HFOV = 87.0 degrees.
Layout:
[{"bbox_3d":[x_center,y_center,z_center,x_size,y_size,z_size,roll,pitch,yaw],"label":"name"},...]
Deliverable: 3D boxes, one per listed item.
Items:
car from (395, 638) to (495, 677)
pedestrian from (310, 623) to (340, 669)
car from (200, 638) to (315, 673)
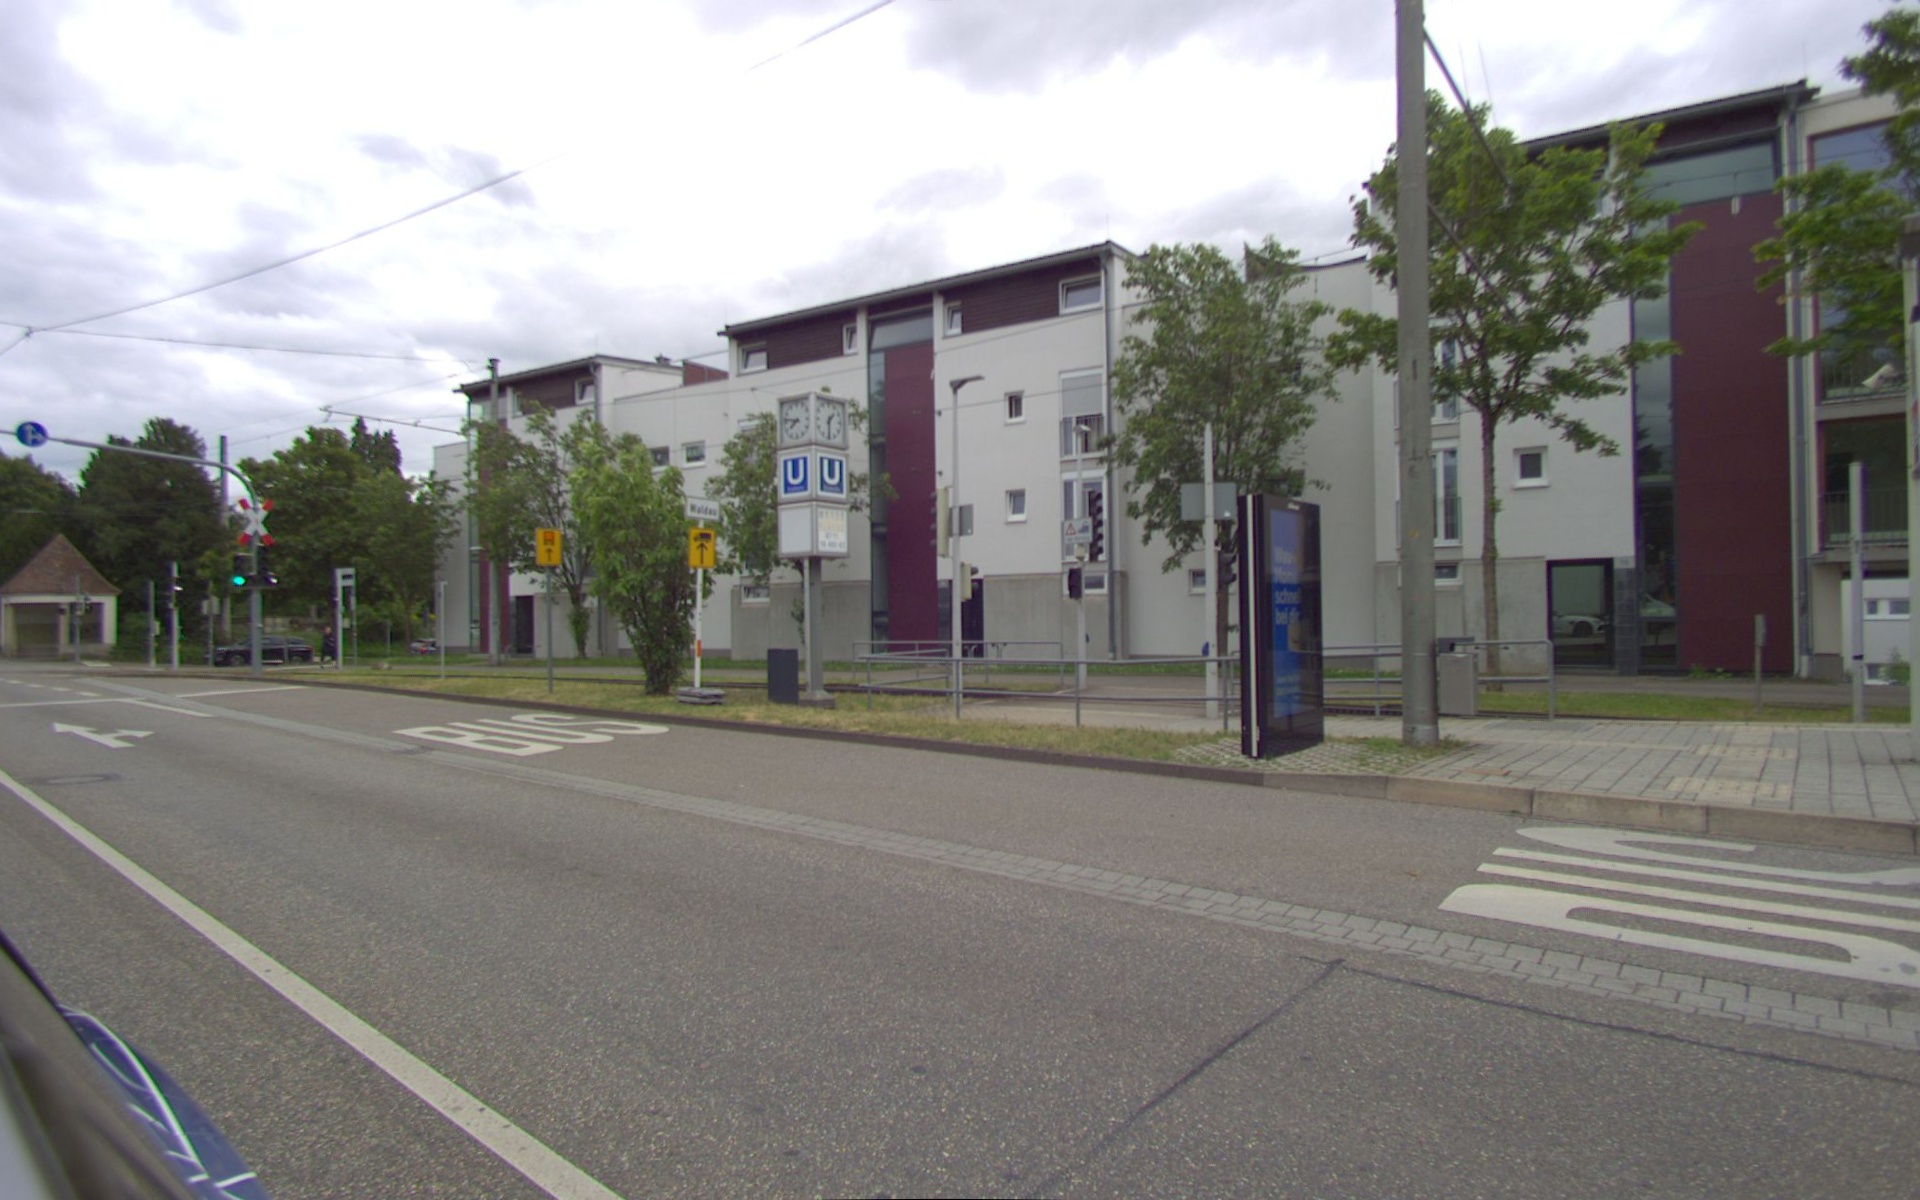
[{"bbox_3d":[-28.194,3.179,55.563,1.994,2.029,4.419,-1,-5,33],"label":"car"},{"bbox_3d":[-23.672,1.724,37.748,0.817,1.657,0.669,-4,-4,34],"label":"pedestrian"},{"bbox_3d":[-36.345,2.893,52.477,1.960,1.682,4.438,-1,-4,32],"label":"car"}]
